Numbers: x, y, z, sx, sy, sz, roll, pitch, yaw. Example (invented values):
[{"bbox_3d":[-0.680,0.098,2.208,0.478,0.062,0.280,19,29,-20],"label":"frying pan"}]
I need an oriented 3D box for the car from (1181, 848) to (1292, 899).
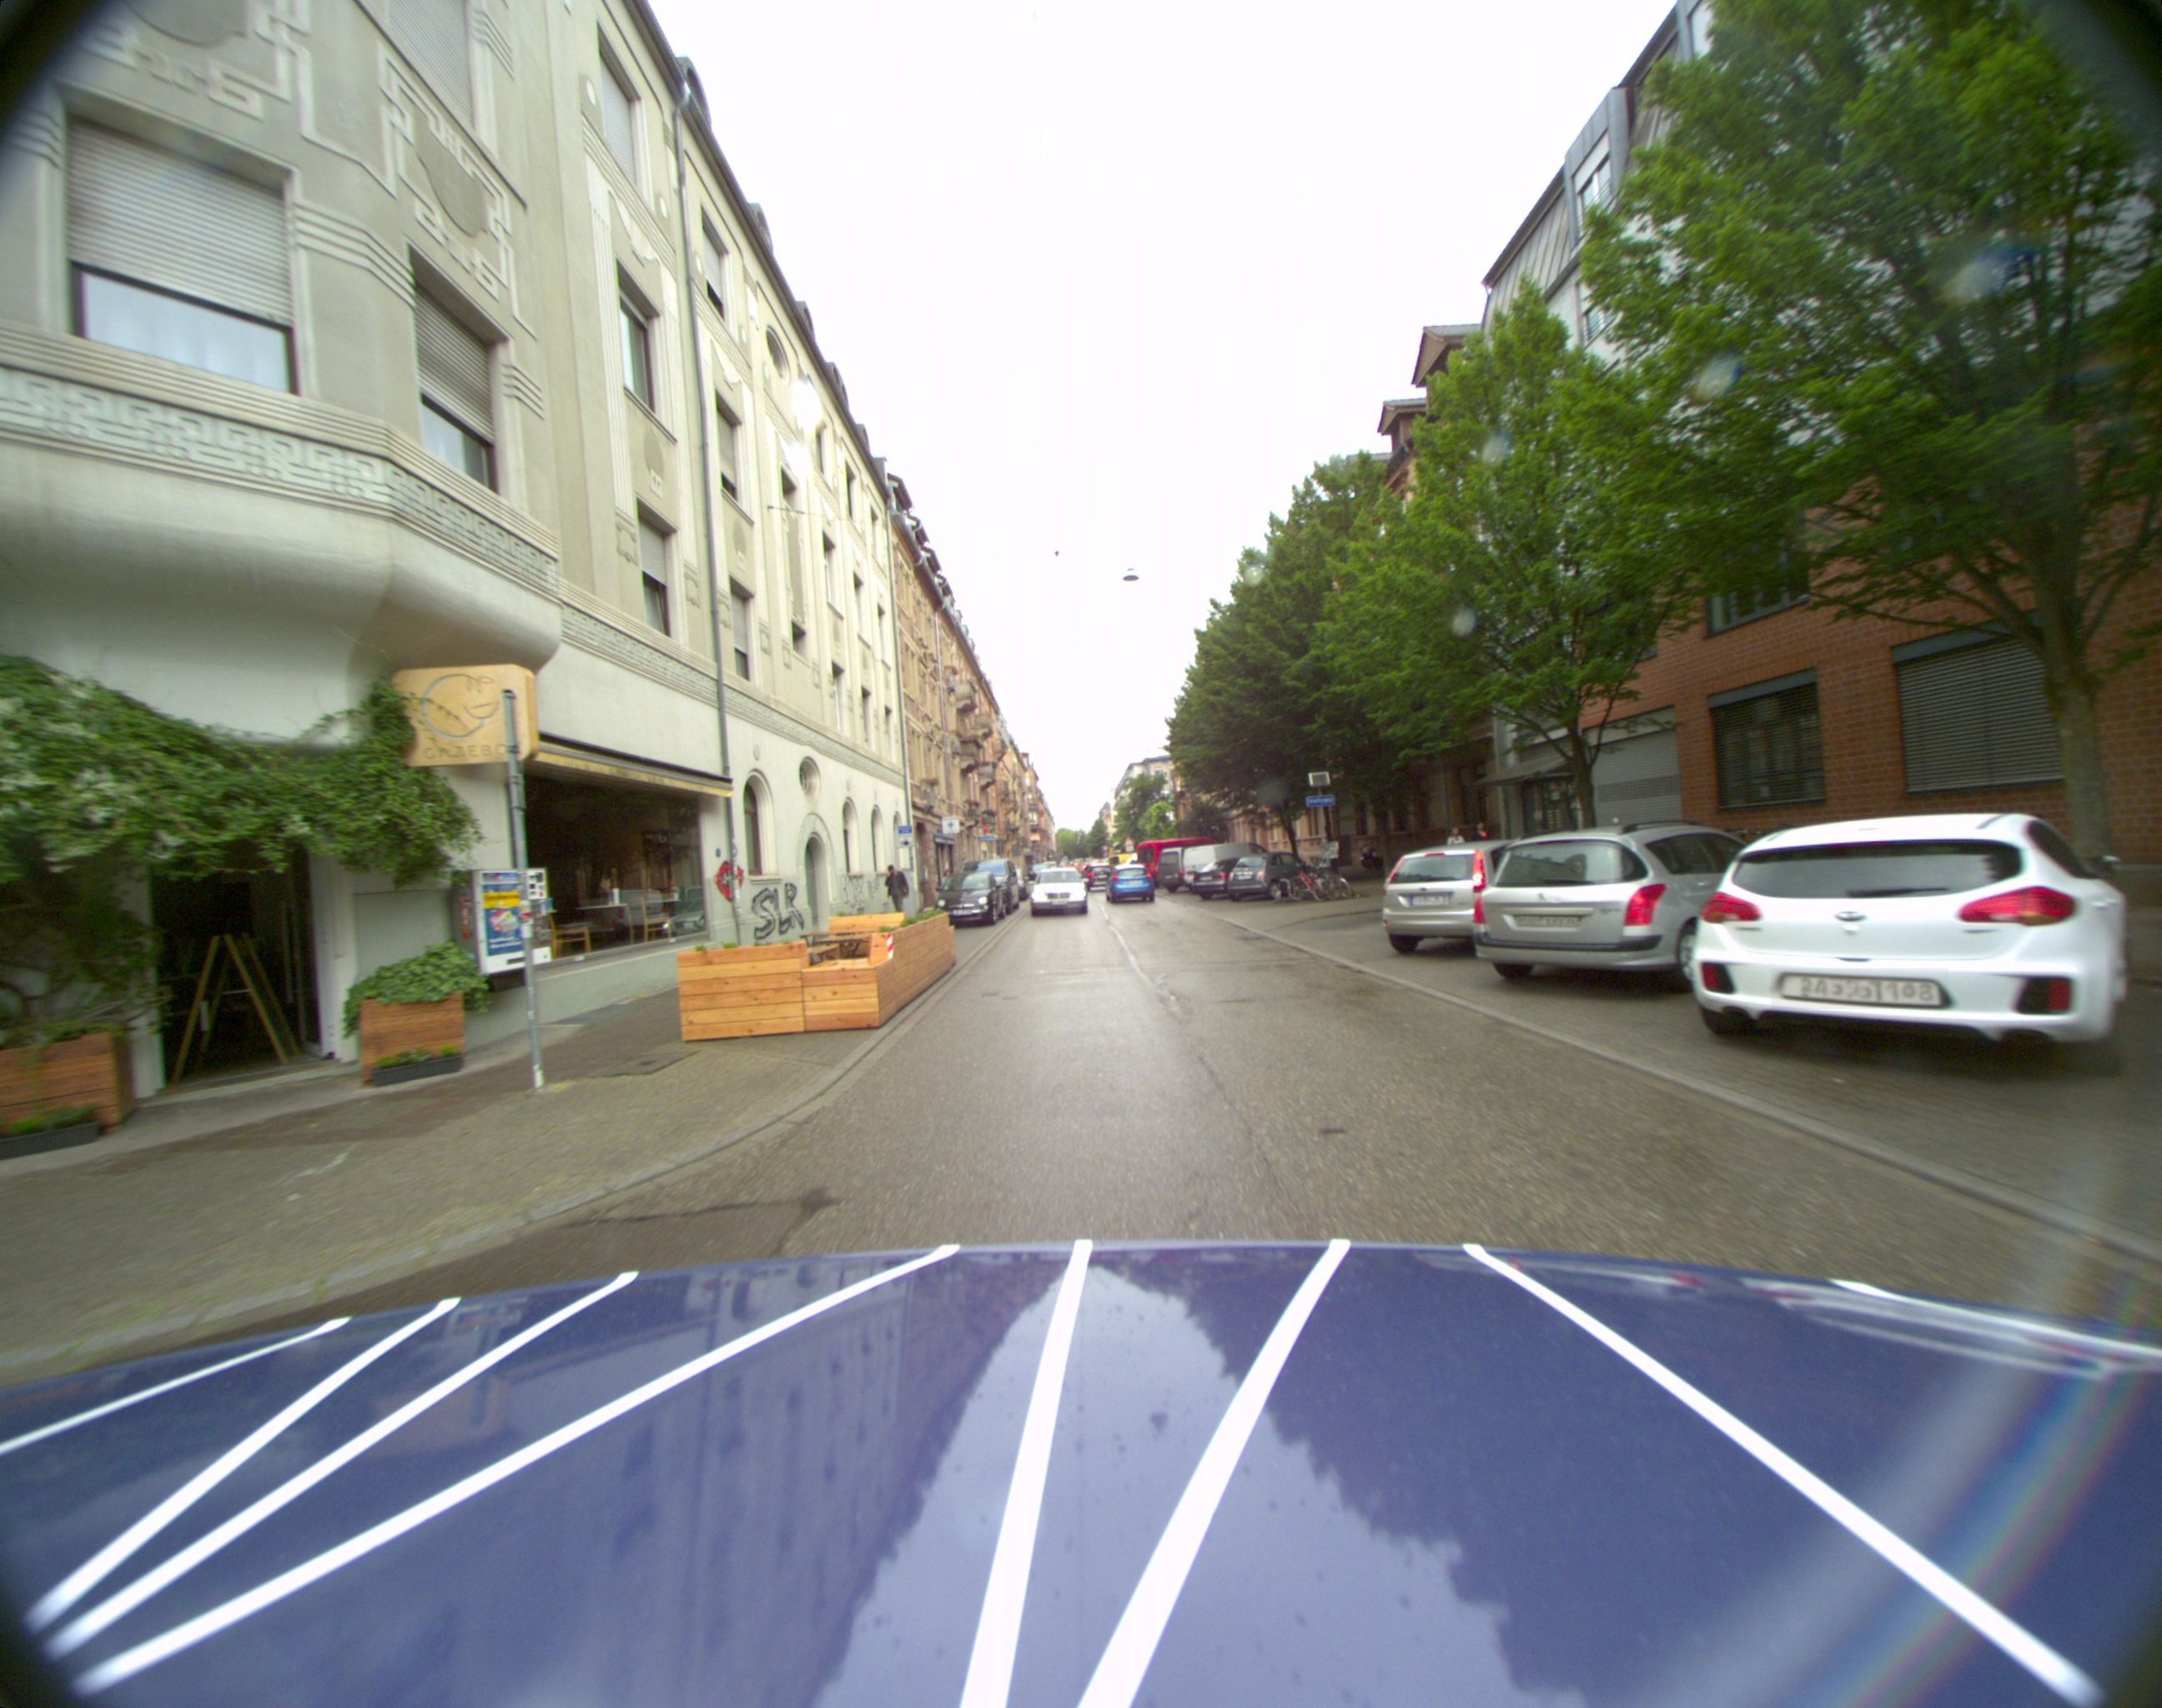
[{"bbox_3d":[5.708,0.687,27.619,3.985,1.438,1.763,-6,0,-40],"label":"car"}]

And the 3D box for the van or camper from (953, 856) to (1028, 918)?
[{"bbox_3d":[-3.066,1.086,26.804,2.027,1.879,5.054,-3,0,-1],"label":"van or camper"}]

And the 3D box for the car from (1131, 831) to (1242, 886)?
[{"bbox_3d":[5.792,0.238,41.570,5.580,2.526,2.225,-4,0,-28],"label":"car"}]

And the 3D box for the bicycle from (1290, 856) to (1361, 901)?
[{"bbox_3d":[6.973,0.717,21.780,0.784,1.151,2.144,-5,-1,-16],"label":"bicycle"}]

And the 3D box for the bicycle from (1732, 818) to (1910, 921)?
[{"bbox_3d":[10.418,0.211,10.723,1.901,1.145,0.553,-8,0,-3],"label":"bicycle"}]

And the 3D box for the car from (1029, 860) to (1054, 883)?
[{"bbox_3d":[-3.374,1.509,65.688,1.999,1.769,4.826,-4,0,-1],"label":"car"}]

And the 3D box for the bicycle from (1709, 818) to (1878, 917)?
[{"bbox_3d":[10.469,0.194,11.196,1.901,1.145,0.553,-8,0,-3],"label":"bicycle"}]

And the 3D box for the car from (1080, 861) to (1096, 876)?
[{"bbox_3d":[0.907,1.803,96.073,1.863,1.650,5.008,-3,-1,0],"label":"car"}]

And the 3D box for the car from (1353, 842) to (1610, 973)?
[{"bbox_3d":[5.767,0.651,10.817,3.720,1.443,1.681,-3,0,-35],"label":"car"}]

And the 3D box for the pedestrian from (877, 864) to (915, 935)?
[{"bbox_3d":[-5.277,1.305,21.736,0.827,1.940,0.415,-4,2,0],"label":"pedestrian"}]

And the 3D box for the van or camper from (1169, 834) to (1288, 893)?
[{"bbox_3d":[6.242,0.384,31.897,4.705,1.941,2.332,-6,-1,-42],"label":"van or camper"}]

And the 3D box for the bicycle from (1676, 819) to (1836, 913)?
[{"bbox_3d":[10.422,0.182,11.753,1.901,1.145,0.553,-8,0,-3],"label":"bicycle"}]

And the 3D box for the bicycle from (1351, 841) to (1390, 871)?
[{"bbox_3d":[12.701,0.094,33.400,0.669,1.186,2.413,-8,0,0],"label":"bicycle"}]

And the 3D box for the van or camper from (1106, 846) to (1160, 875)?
[{"bbox_3d":[5.141,0.622,75.262,4.733,2.254,2.181,-6,0,-33],"label":"van or camper"}]

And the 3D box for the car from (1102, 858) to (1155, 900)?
[{"bbox_3d":[1.817,0.919,30.056,1.674,1.457,4.003,-4,0,-1],"label":"car"}]

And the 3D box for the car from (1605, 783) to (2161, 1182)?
[{"bbox_3d":[6.137,0.507,5.502,4.530,1.531,2.332,-8,3,-35],"label":"car"}]

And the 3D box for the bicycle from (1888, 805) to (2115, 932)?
[{"bbox_3d":[10.546,0.161,8.734,1.901,1.145,0.553,-8,0,-3],"label":"bicycle"}]

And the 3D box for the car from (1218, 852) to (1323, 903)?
[{"bbox_3d":[6.264,0.753,24.931,3.487,1.427,1.647,-3,0,-43],"label":"car"}]

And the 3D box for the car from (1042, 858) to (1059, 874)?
[{"bbox_3d":[-3.847,1.473,96.218,1.999,1.927,5.229,-3,0,-3],"label":"car"}]

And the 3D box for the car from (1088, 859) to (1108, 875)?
[{"bbox_3d":[1.720,1.346,79.599,1.800,1.484,4.584,-5,-2,-1],"label":"car"}]

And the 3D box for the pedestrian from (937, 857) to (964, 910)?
[{"bbox_3d":[-5.109,1.165,29.778,0.827,2.002,0.415,-4,2,0],"label":"pedestrian"}]

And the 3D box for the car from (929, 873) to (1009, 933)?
[{"bbox_3d":[-3.063,1.322,21.466,1.714,1.392,3.704,-3,0,-1],"label":"car"}]

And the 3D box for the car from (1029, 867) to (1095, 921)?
[{"bbox_3d":[-0.676,1.228,25.096,1.859,1.390,4.979,-4,0,-2],"label":"car"}]

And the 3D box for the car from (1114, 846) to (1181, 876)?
[{"bbox_3d":[5.637,0.560,63.946,5.258,2.066,1.867,-5,1,-25],"label":"car"}]

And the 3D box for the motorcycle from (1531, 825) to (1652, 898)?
[{"bbox_3d":[10.573,0.164,15.780,1.886,1.218,0.657,-8,0,3],"label":"motorcycle"}]

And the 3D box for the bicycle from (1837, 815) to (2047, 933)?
[{"bbox_3d":[10.575,0.237,9.360,1.901,1.145,0.553,-8,0,-3],"label":"bicycle"}]

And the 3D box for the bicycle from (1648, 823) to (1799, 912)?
[{"bbox_3d":[10.364,0.219,12.288,1.901,1.145,0.553,-8,0,-3],"label":"bicycle"}]

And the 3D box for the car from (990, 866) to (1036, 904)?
[{"bbox_3d":[-3.195,1.417,36.243,1.846,1.536,4.003,-4,0,-1],"label":"car"}]

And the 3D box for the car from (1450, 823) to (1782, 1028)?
[{"bbox_3d":[5.642,0.587,7.936,3.392,1.644,1.630,-3,0,-33],"label":"car"}]

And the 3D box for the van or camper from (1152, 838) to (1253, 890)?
[{"bbox_3d":[5.658,0.464,35.169,4.454,1.964,1.778,-5,0,-33],"label":"van or camper"}]

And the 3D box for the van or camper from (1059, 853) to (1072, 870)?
[{"bbox_3d":[-3.193,1.554,158.293,2.411,3.307,7.073,-5,-1,-2],"label":"van or camper"}]

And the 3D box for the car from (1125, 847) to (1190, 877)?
[{"bbox_3d":[5.841,0.611,58.497,4.590,1.775,2.545,-7,0,-1],"label":"car"}]

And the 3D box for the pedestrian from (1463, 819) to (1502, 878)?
[{"bbox_3d":[11.318,-0.146,21.453,0.568,1.592,0.589,-8,0,-6],"label":"pedestrian"}]

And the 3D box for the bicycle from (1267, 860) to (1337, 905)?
[{"bbox_3d":[6.223,0.831,21.550,0.751,1.151,2.218,-5,-1,-16],"label":"bicycle"}]

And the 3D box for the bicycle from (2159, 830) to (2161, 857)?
[{"bbox_3d":[10.550,0.222,6.485,1.901,1.145,0.553,-8,0,-3],"label":"bicycle"}]

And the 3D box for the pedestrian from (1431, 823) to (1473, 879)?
[{"bbox_3d":[10.567,-0.088,21.642,0.690,1.488,0.587,-8,0,-6],"label":"pedestrian"}]

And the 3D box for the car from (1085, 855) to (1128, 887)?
[{"bbox_3d":[1.483,0.923,42.970,1.672,1.550,4.006,-4,0,12],"label":"car"}]
